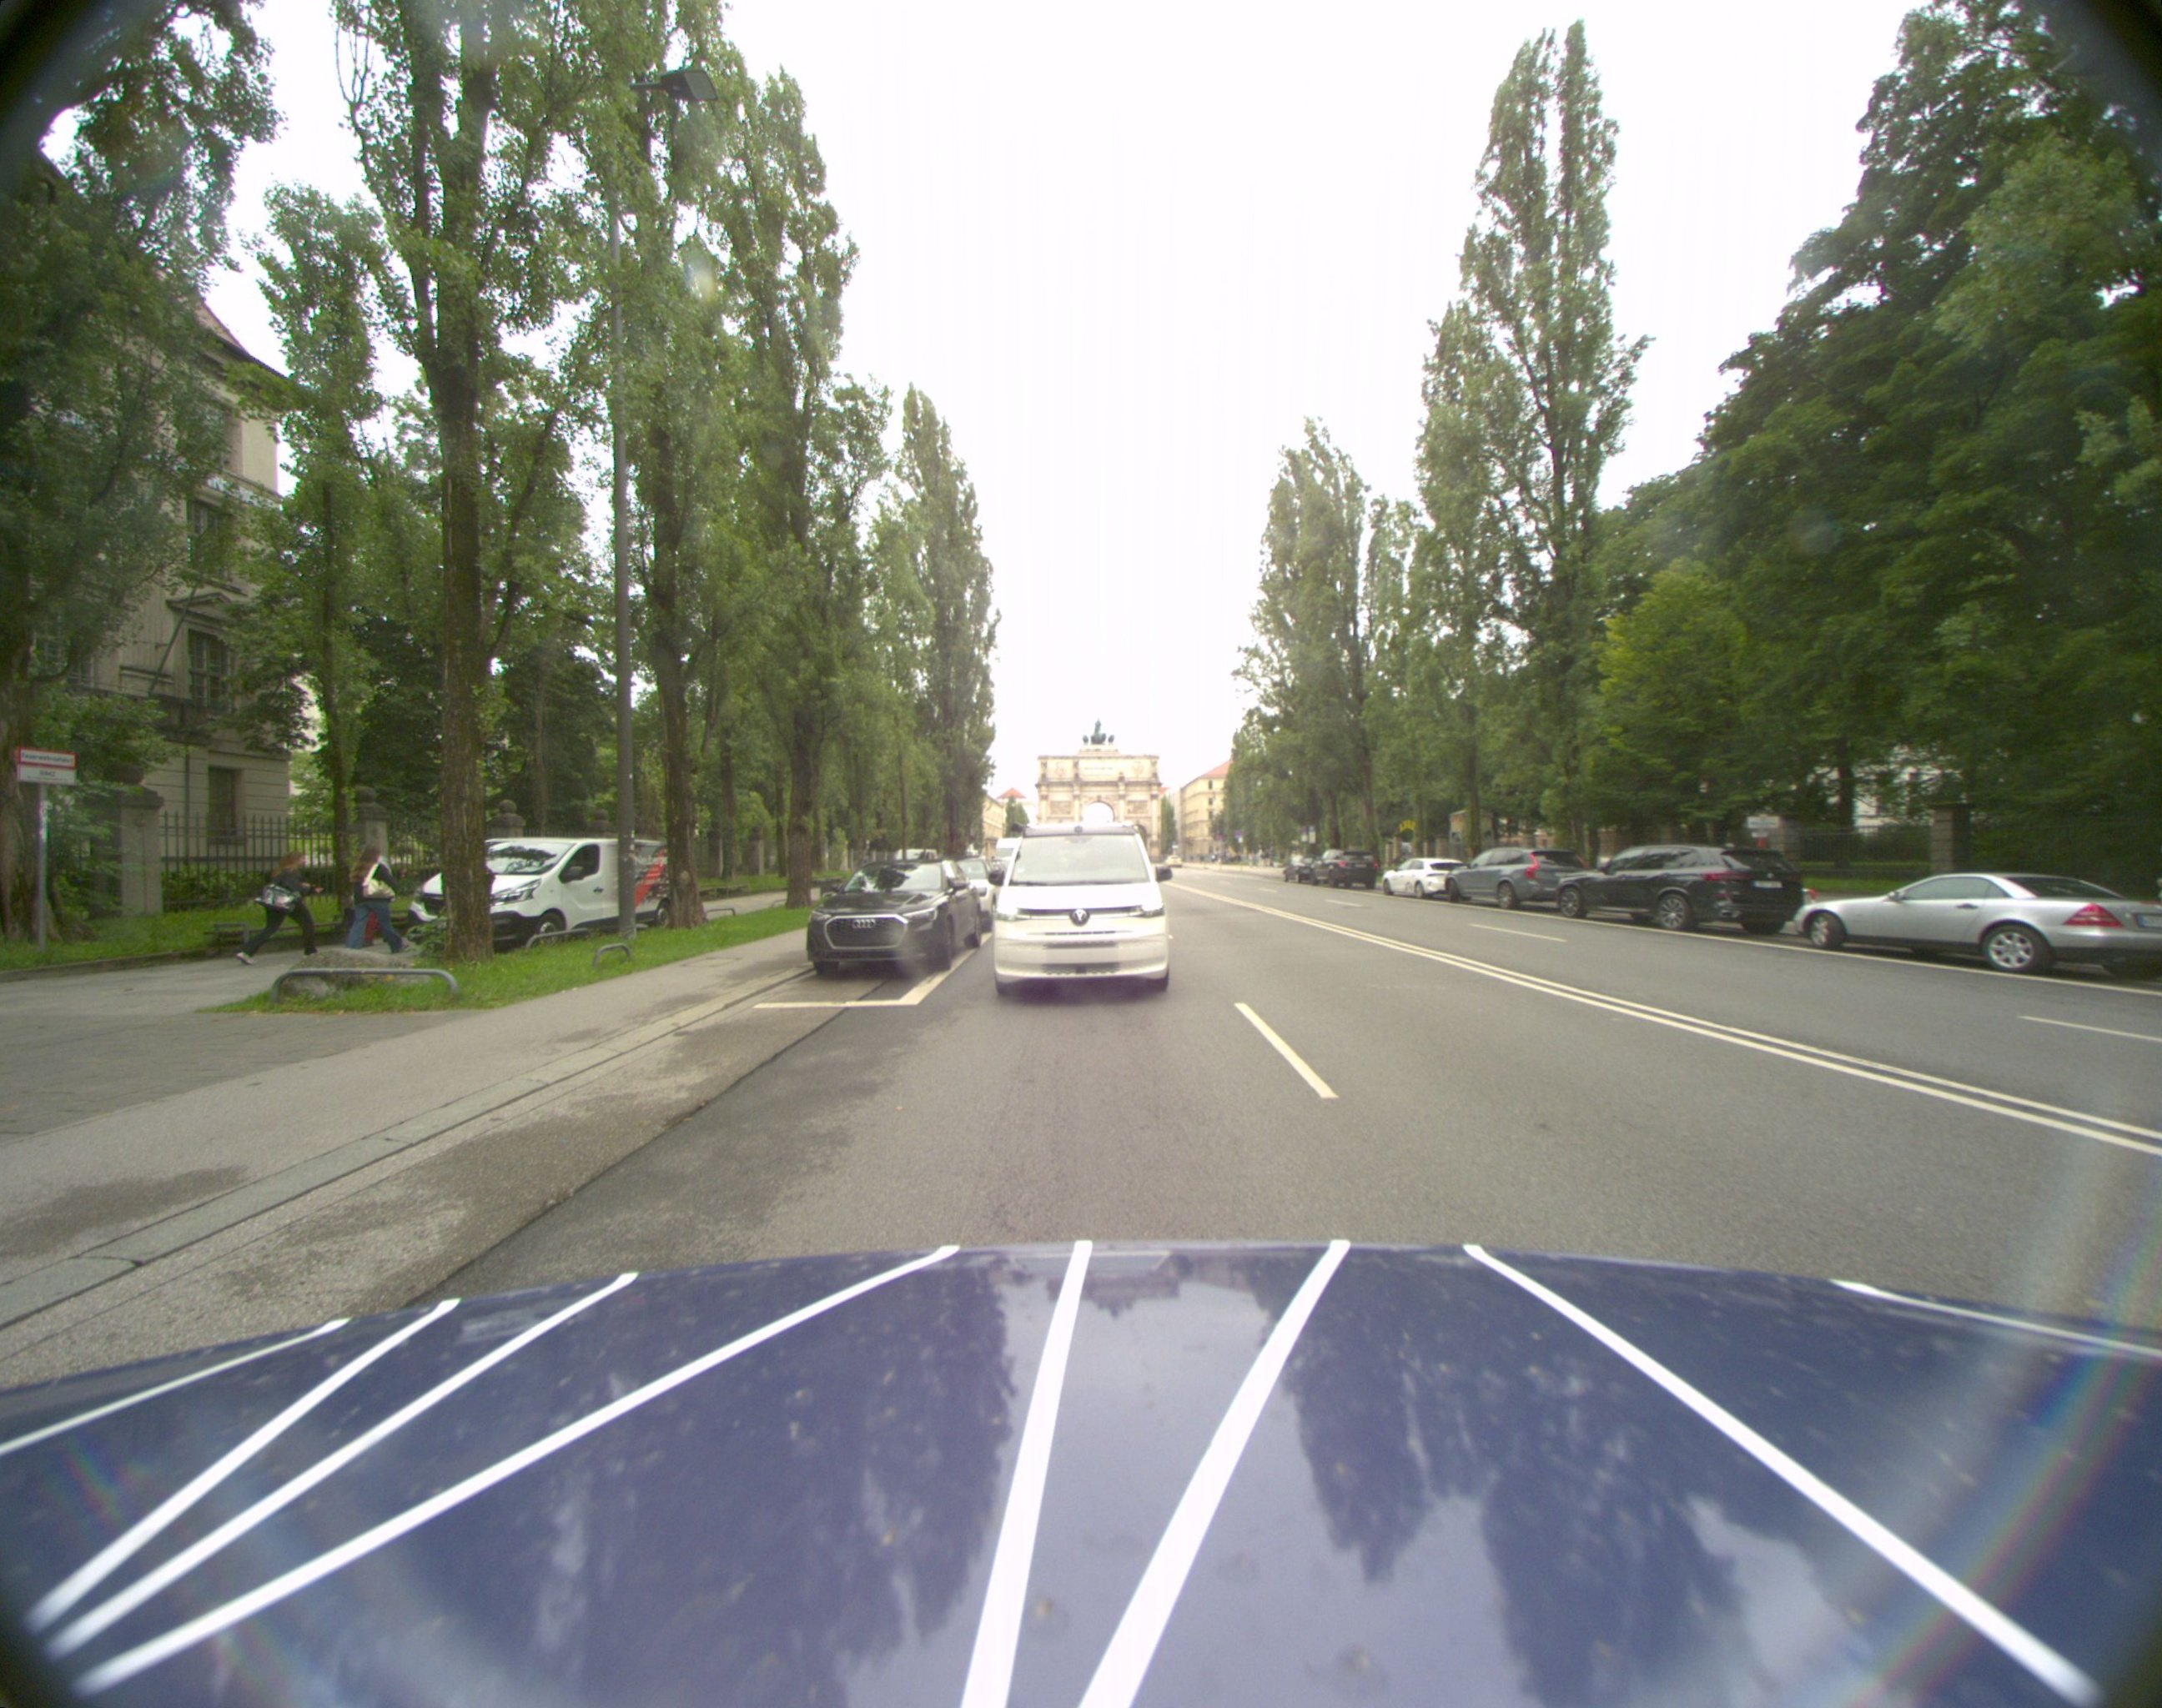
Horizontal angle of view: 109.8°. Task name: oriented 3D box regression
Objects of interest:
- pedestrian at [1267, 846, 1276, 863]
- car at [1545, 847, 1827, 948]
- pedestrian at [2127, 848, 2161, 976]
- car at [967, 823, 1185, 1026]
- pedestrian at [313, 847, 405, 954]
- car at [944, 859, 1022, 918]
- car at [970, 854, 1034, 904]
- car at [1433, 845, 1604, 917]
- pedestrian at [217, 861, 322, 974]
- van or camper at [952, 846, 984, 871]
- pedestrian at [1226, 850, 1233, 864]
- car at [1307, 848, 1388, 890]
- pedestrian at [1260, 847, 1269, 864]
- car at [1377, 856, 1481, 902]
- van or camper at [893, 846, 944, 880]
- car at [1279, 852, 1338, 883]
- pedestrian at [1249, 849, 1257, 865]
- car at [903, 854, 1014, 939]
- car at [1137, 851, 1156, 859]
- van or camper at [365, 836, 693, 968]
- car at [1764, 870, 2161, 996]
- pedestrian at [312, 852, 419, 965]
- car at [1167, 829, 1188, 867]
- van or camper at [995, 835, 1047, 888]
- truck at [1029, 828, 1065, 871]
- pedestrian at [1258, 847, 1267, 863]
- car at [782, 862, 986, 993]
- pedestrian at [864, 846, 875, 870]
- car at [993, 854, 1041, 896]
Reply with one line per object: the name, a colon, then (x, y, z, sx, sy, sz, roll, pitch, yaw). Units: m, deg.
pedestrian: (19.733, 0.063, 78.682, 0.711, 1.762, 1.092, 0, 1, -1)
car: (12.402, 0.770, 16.142, 1.946, 1.757, 4.894, 2, 0, -2)
pedestrian: (14.372, 0.747, 9.784, 0.740, 1.654, 0.751, 0, 1, 1)
car: (-0.020, 0.675, 10.226, 2.064, 1.916, 5.728, -1, 0, 0)
pedestrian: (-12.401, 0.780, 13.081, 0.723, 1.760, 0.867, 2, 1, 1)
car: (-2.749, 0.914, 22.134, 1.707, 1.511, 4.294, -1, 0, 0)
car: (-2.726, 0.823, 27.030, 1.788, 1.608, 4.637, -1, 0, 0)
car: (12.519, 0.690, 22.248, 1.914, 1.779, 5.179, 2, 0, -1)
pedestrian: (-11.802, 0.900, 11.084, 0.569, 1.569, 0.867, 0, 1, 0)
van or camper: (-9.689, 0.394, 65.483, 2.009, 2.002, 4.985, -2, 0, -2)
pedestrian: (17.863, 0.337, 91.413, 0.533, 1.720, 0.583, -1, 1, -11)
car: (12.429, 0.658, 35.800, 2.051, 1.776, 4.799, 1, 0, 0)
pedestrian: (18.981, 0.150, 78.662, 0.711, 1.823, 1.092, 0, 1, -1)
car: (12.394, 0.850, 27.358, 1.708, 1.450, 4.272, 1, 0, -1)
van or camper: (-9.743, 0.511, 45.998, 1.980, 1.922, 5.037, -2, 0, -1)
car: (12.533, 0.724, 42.132, 1.949, 1.574, 4.388, 1, 0, 0)
pedestrian: (18.380, 0.288, 81.093, 0.689, 1.690, 0.885, -1, 0, -1)
car: (-2.609, 0.836, 17.202, 1.747, 1.665, 4.579, -1, 0, 0)
car: (14.114, 0.290, 163.987, 2.004, 1.739, 3.989, -1, 0, -40)
van or camper: (-9.672, 0.722, 14.108, 2.081, 1.922, 5.368, -2, 0, 0)
car: (12.603, 0.968, 10.854, 1.831, 1.326, 4.233, 2, 0, -1)
pedestrian: (-11.257, 0.834, 11.981, 0.855, 1.707, 0.867, 1, 1, -1)
car: (11.871, -0.778, 93.004, 1.799, 4.450, 1.332, 19, -39, -8)
van or camper: (-3.012, 0.342, 39.279, 2.144, 2.525, 6.416, -1, 0, 0)
truck: (-2.943, -0.367, 68.821, 2.852, 3.543, 10.277, -1, 0, -1)
pedestrian: (19.345, 0.126, 80.994, 0.661, 1.706, 0.911, -1, 0, -1)
car: (-2.686, 0.925, 11.538, 1.885, 1.531, 4.464, -1, 0, 0)
pedestrian: (-17.518, 0.345, 62.872, 0.905, 2.002, 0.956, 0, 1, -16)
car: (-2.640, 0.815, 32.274, 1.789, 1.639, 4.416, -1, 0, -2)
